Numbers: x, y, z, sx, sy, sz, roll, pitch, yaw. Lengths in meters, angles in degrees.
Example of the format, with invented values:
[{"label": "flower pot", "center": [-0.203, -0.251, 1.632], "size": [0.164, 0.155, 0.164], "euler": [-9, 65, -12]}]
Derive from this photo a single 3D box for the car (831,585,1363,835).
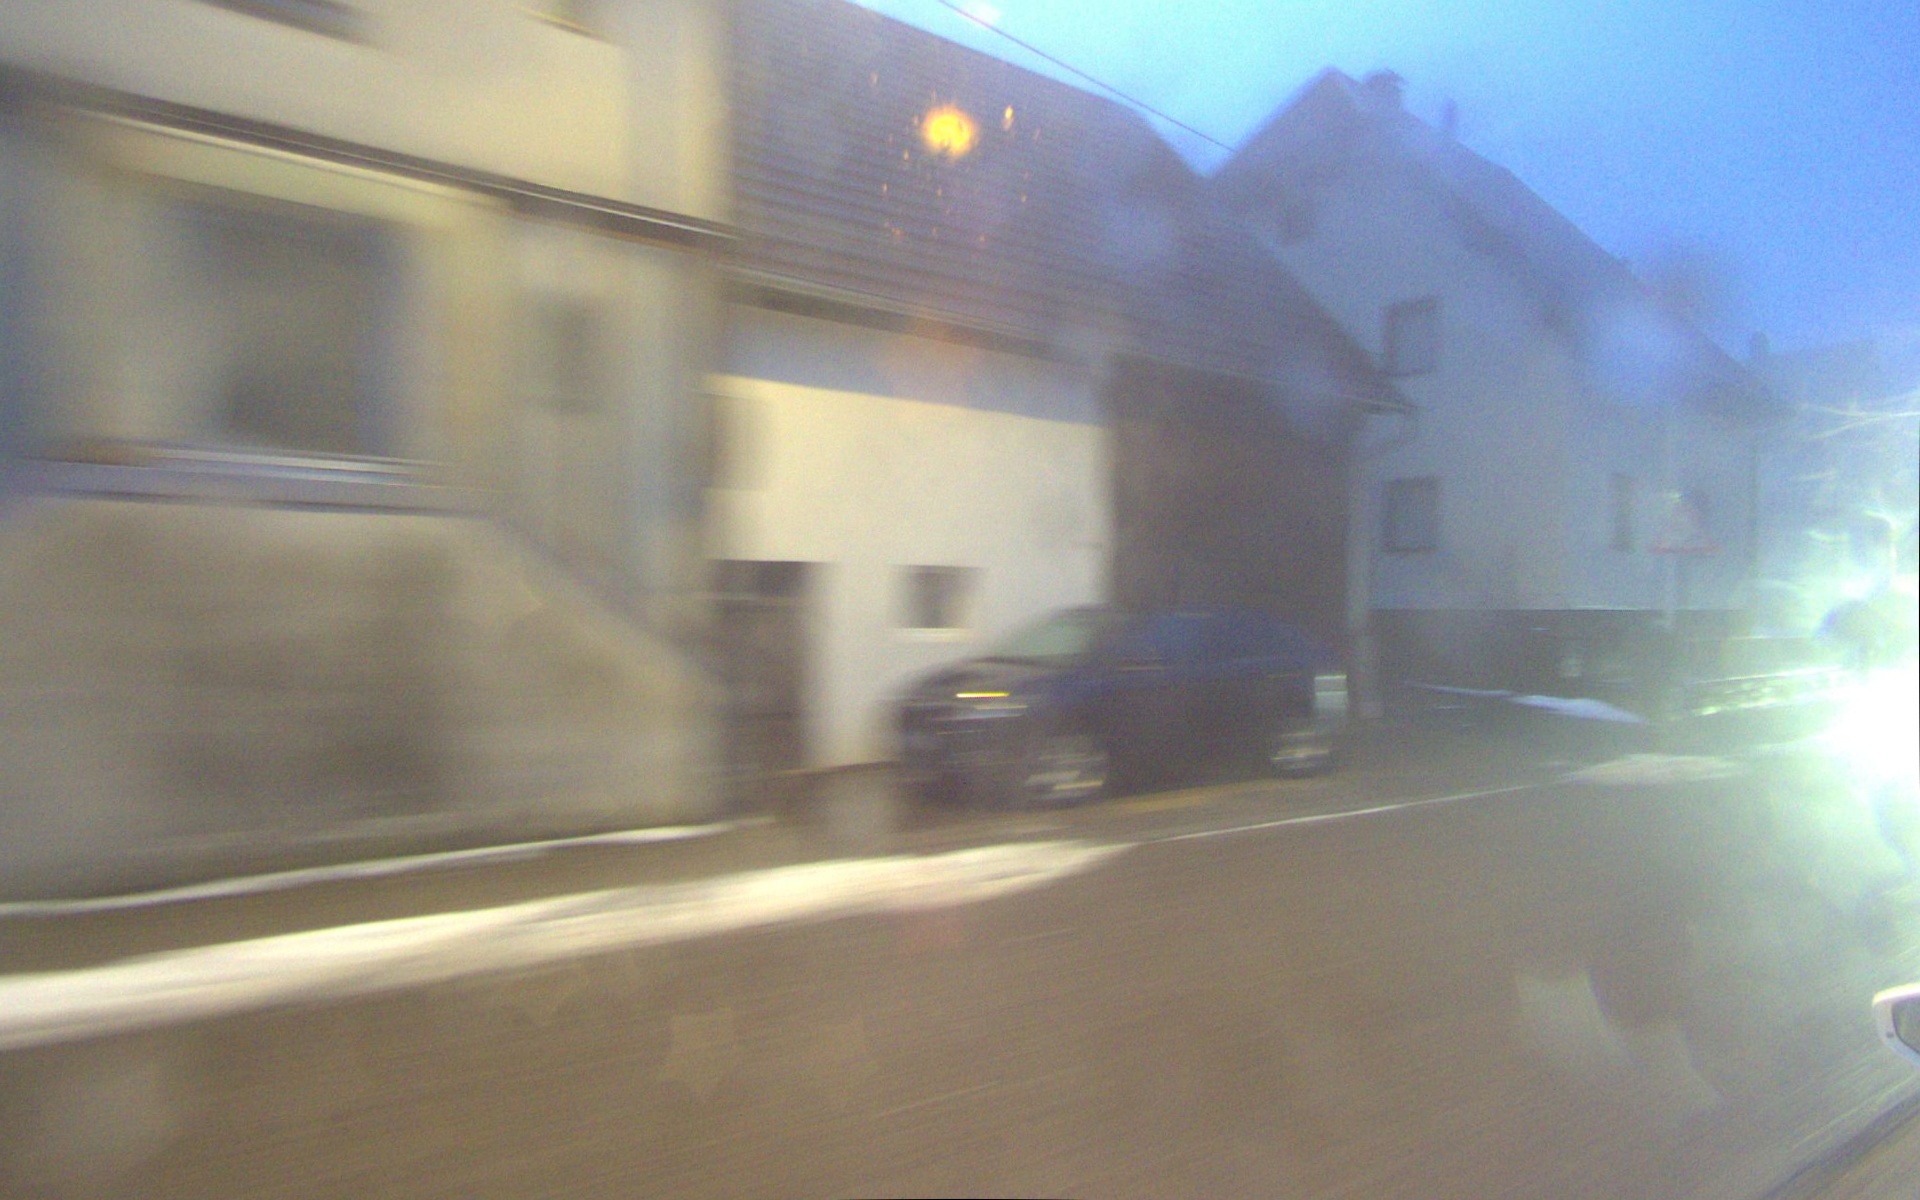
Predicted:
[{"label": "car", "center": [1.232, 0.694, 8.399], "size": [4.147, 1.543, 1.981], "euler": [0, 2, -34]}]
